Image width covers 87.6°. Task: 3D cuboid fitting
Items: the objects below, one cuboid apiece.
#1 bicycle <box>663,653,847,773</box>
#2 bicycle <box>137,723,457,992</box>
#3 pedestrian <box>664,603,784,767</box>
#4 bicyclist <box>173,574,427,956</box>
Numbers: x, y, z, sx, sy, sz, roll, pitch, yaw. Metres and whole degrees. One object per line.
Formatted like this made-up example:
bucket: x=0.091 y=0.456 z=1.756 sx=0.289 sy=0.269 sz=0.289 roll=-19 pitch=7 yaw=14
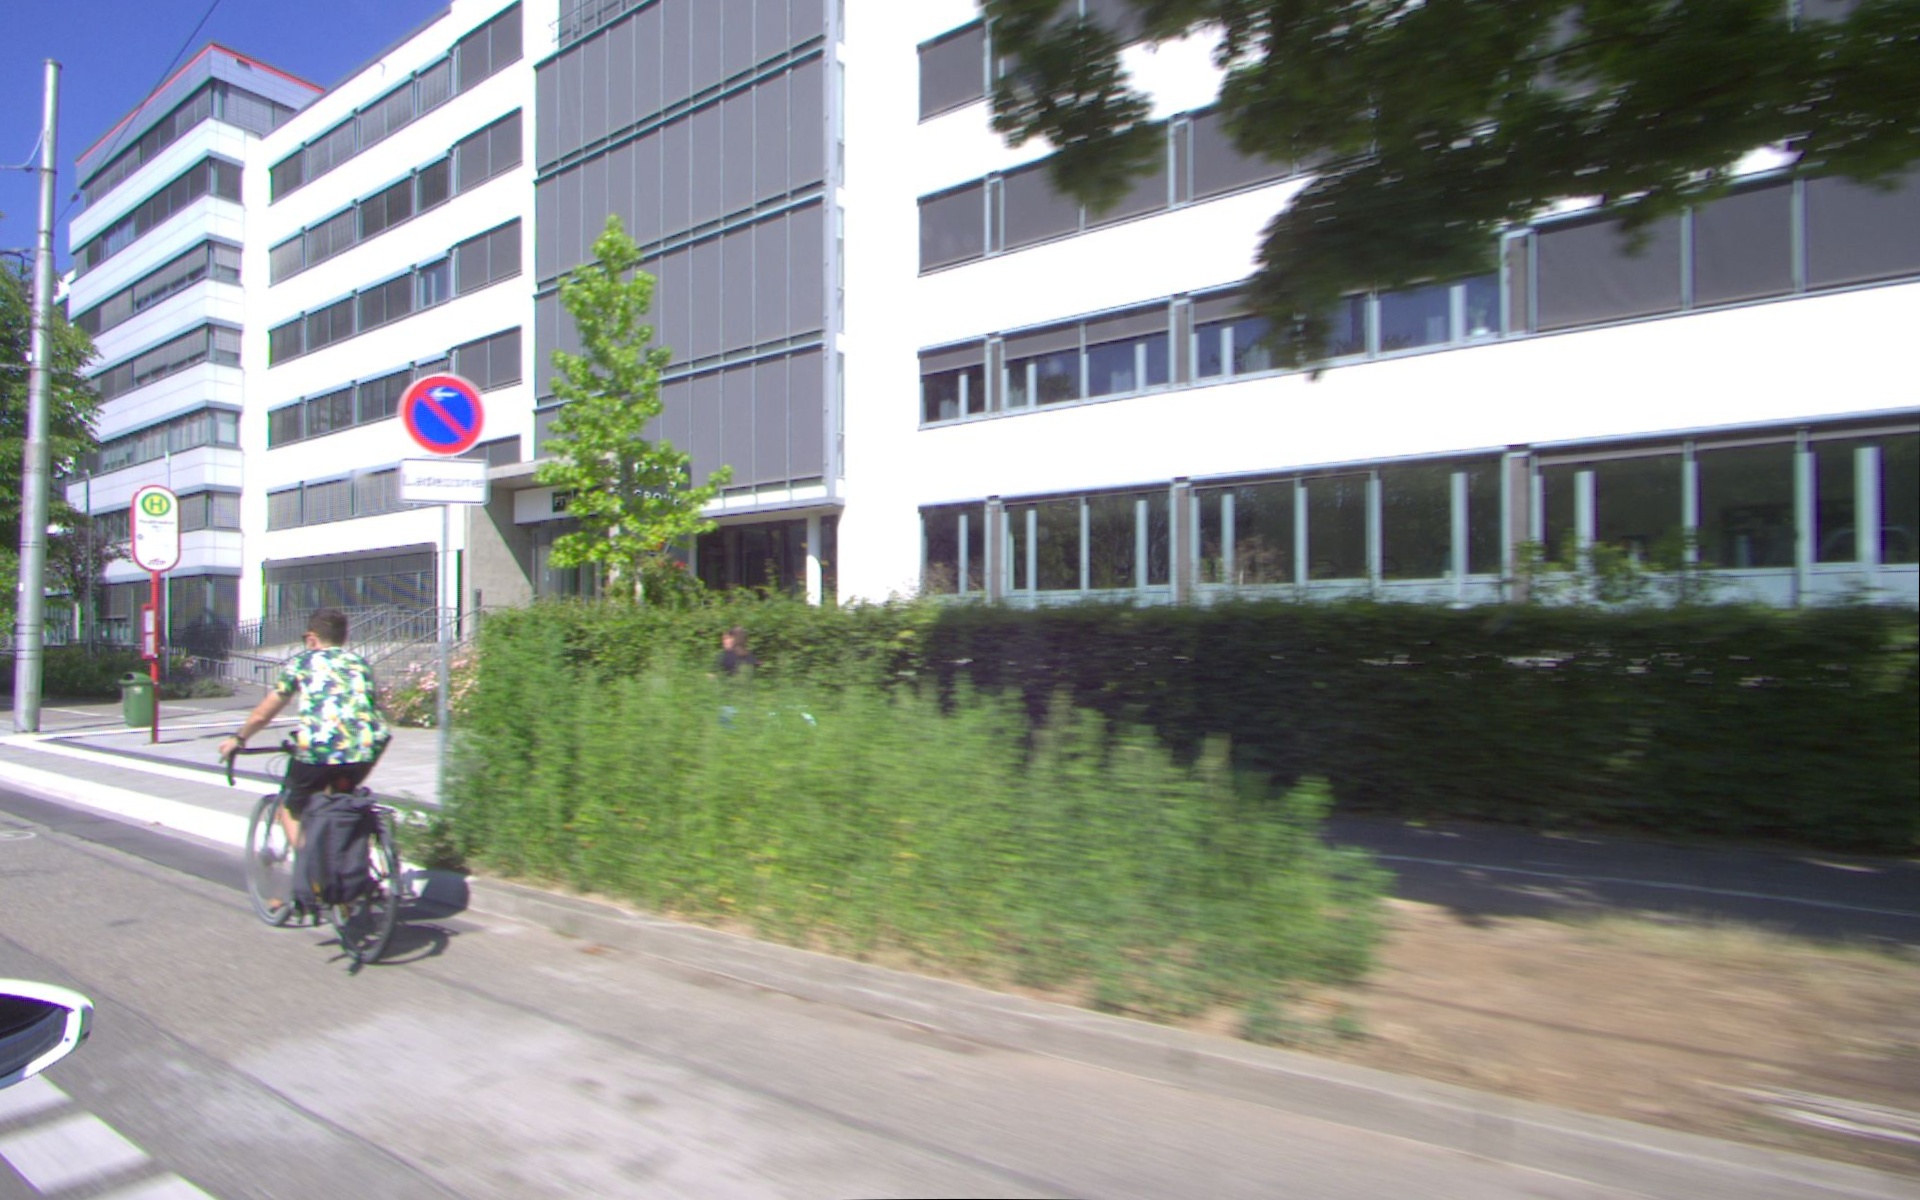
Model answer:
bicycle: x=-2.160 y=1.124 z=10.414 sx=2.039 sy=1.131 sz=0.634 roll=-1 pitch=-2 yaw=34
bicycle: x=-3.455 y=1.202 z=5.132 sx=2.135 sy=0.996 sz=0.607 roll=-1 pitch=-2 yaw=35
pedestrian: x=-2.403 y=0.837 z=10.218 sx=0.974 sy=1.584 sz=0.685 roll=-1 pitch=0 yaw=30
bicyclist: x=-3.402 y=0.783 z=5.173 sx=0.974 sy=1.745 sz=0.715 roll=-1 pitch=-3 yaw=33
